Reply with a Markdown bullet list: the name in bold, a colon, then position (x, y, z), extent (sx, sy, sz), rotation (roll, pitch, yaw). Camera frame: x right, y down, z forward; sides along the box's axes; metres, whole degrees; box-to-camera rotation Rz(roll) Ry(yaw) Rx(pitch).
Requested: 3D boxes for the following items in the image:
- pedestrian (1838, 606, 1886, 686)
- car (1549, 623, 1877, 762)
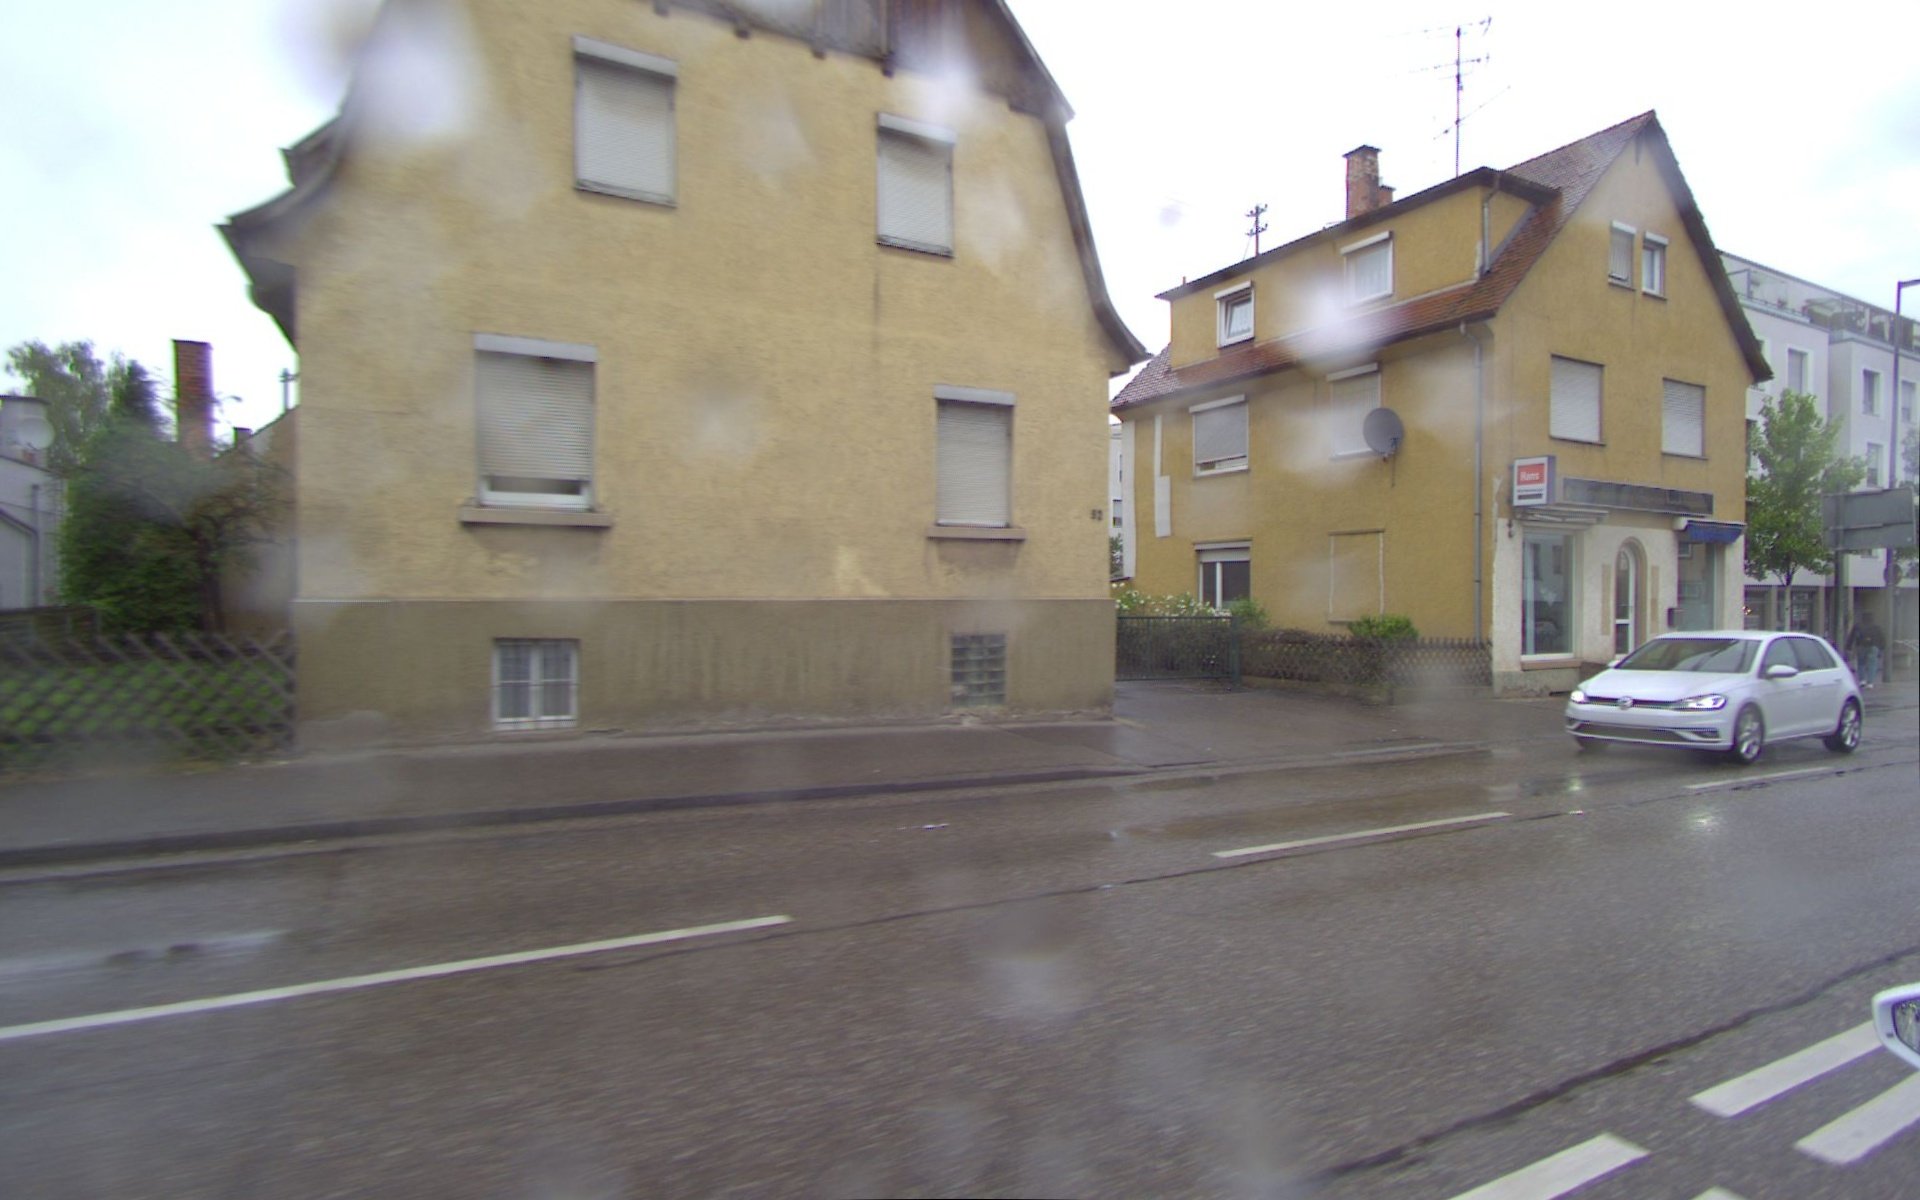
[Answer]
- **pedestrian**: position (21.196, 1.071, 23.613), extent (0.791, 1.811, 0.878), rotation (0, -2, 39)
- **car**: position (9.168, 1.066, 12.172), extent (4.088, 1.436, 1.643), rotation (2, -4, -29)
